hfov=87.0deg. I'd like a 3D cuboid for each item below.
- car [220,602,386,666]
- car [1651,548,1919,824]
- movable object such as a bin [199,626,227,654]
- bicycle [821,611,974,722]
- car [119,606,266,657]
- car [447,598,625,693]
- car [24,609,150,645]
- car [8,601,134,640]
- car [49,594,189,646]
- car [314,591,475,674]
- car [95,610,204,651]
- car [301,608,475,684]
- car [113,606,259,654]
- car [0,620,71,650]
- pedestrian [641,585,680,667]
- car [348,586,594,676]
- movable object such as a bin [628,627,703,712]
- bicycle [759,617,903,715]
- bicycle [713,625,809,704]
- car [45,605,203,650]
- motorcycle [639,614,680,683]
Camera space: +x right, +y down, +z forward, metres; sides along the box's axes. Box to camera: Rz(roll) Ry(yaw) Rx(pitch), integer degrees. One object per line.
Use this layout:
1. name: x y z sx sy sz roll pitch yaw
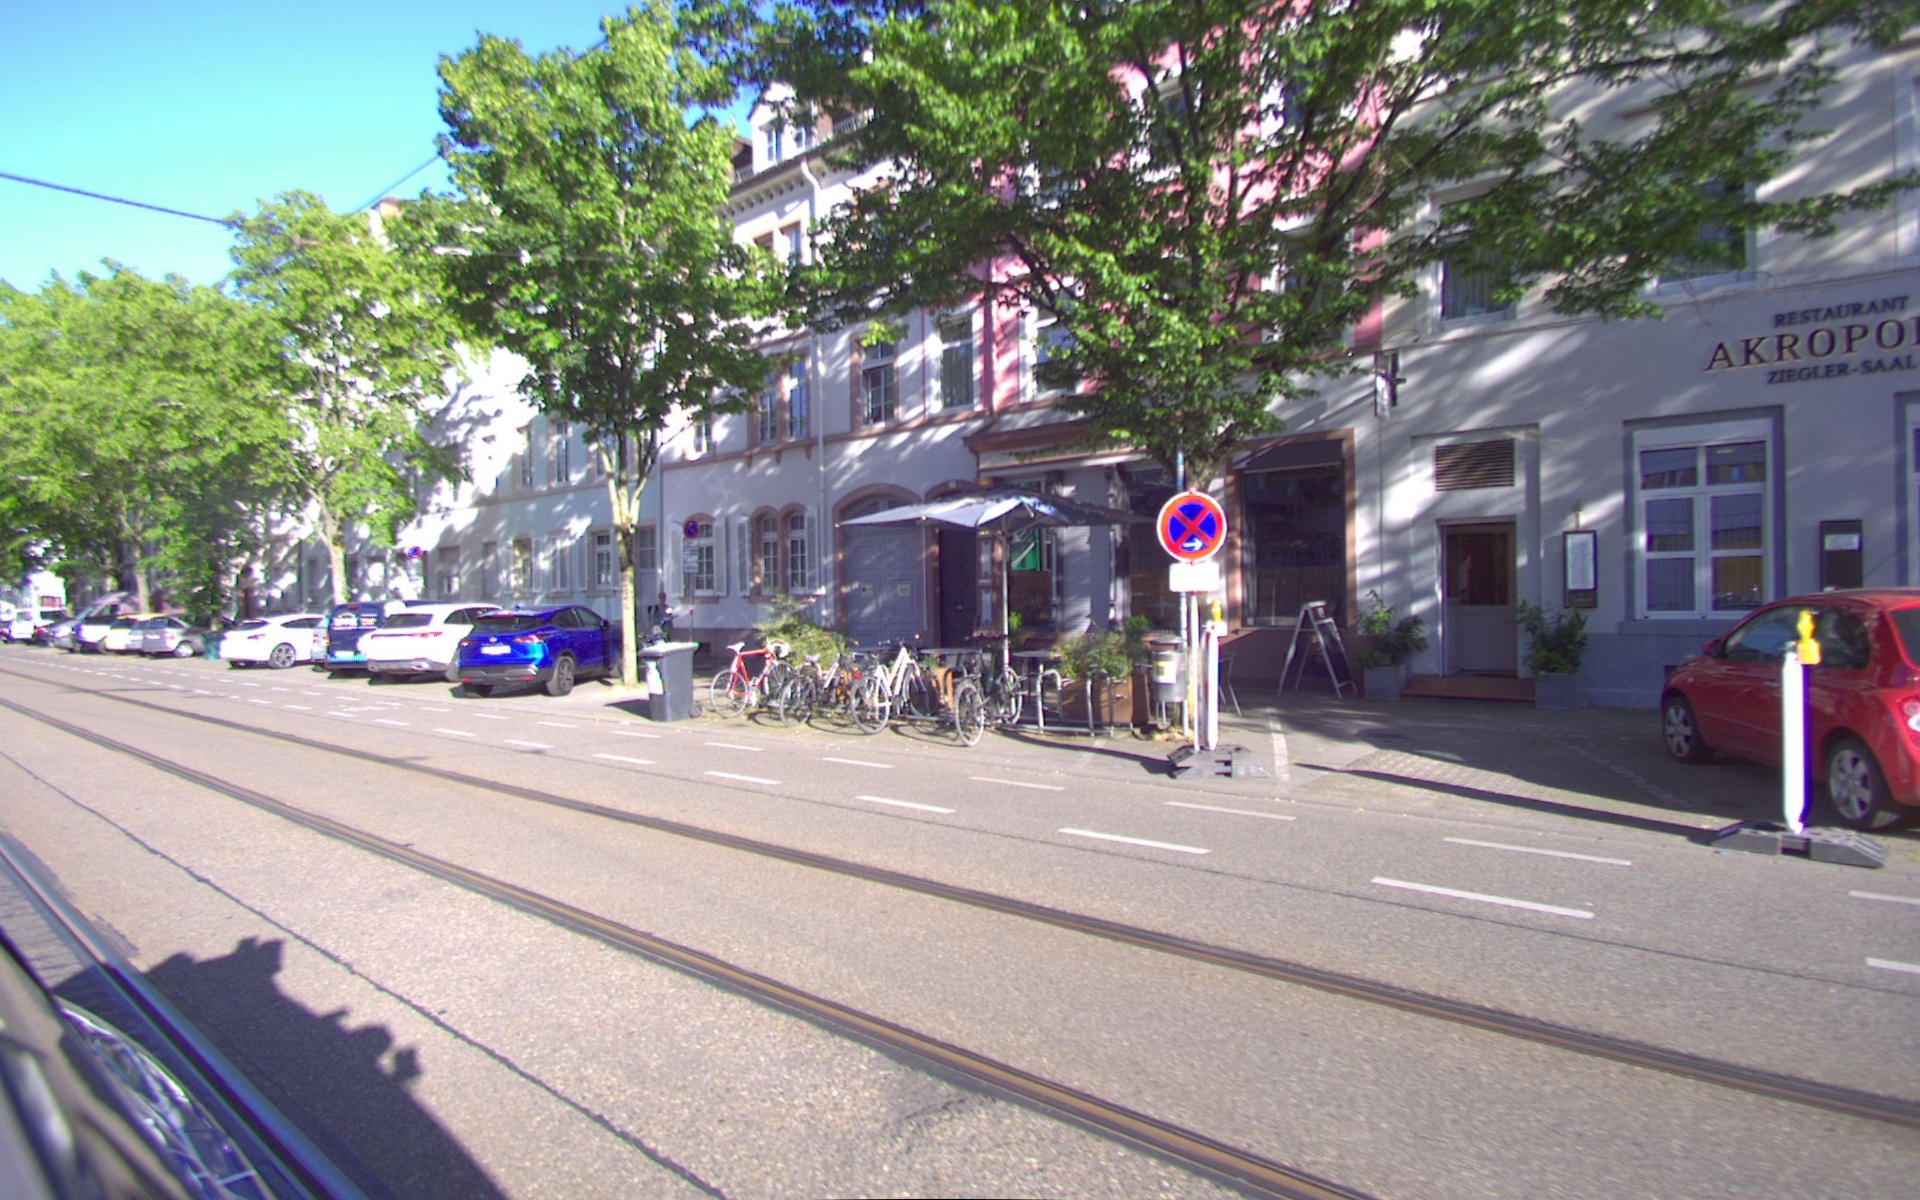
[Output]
1. car: -18.933 0.934 29.349 1.873 1.541 3.624 -1 2 20
2. car: 6.706 0.430 7.273 1.653 1.565 3.609 -3 1 14
3. movable object such as a bin: -25.394 1.352 34.411 0.669 0.952 0.615 -1 -2 39
4. bicycle: -0.728 0.769 12.480 0.567 1.095 1.982 -1 4 42
5. car: -27.723 1.091 36.693 1.690 1.689 3.973 -1 0 20
6. car: -7.903 0.799 19.256 1.553 1.621 3.898 -1 -1 4
7. car: -45.593 1.387 52.928 1.950 1.588 4.654 -1 1 36
8. car: -48.621 1.109 55.486 2.057 2.029 4.913 -1 -1 17
9. car: -36.926 0.856 44.528 2.161 2.134 4.394 -1 0 38
10. car: -13.662 0.764 24.664 1.713 1.857 3.437 -1 -1 8
11. car: -32.417 1.195 40.592 1.369 1.565 3.364 -1 0 10
12. car: -15.136 1.165 27.046 1.792 1.669 3.985 -2 2 12
13. car: -29.557 1.096 38.803 1.692 1.564 4.138 -1 1 24
14. car: -55.546 2.045 60.069 1.762 1.569 3.988 -1 1 10
15. pedestrian: -6.869 0.586 23.233 0.624 1.852 0.636 -1 -1 42
16. car: -10.909 0.624 23.056 2.193 1.808 4.907 -1 0 21
17. movable object such as a bin: -4.083 0.939 14.021 0.709 1.086 0.676 -1 2 42
18. bicycle: -1.676 0.830 13.411 0.568 1.087 1.947 -1 2 42
19. bicycle: -2.851 0.907 14.622 0.387 0.995 1.589 -1 1 30
20. car: -34.957 1.112 42.427 2.161 1.737 4.783 -1 0 38
21. motorcycle: -5.888 0.906 19.796 0.714 1.263 2.607 0 -1 -17
